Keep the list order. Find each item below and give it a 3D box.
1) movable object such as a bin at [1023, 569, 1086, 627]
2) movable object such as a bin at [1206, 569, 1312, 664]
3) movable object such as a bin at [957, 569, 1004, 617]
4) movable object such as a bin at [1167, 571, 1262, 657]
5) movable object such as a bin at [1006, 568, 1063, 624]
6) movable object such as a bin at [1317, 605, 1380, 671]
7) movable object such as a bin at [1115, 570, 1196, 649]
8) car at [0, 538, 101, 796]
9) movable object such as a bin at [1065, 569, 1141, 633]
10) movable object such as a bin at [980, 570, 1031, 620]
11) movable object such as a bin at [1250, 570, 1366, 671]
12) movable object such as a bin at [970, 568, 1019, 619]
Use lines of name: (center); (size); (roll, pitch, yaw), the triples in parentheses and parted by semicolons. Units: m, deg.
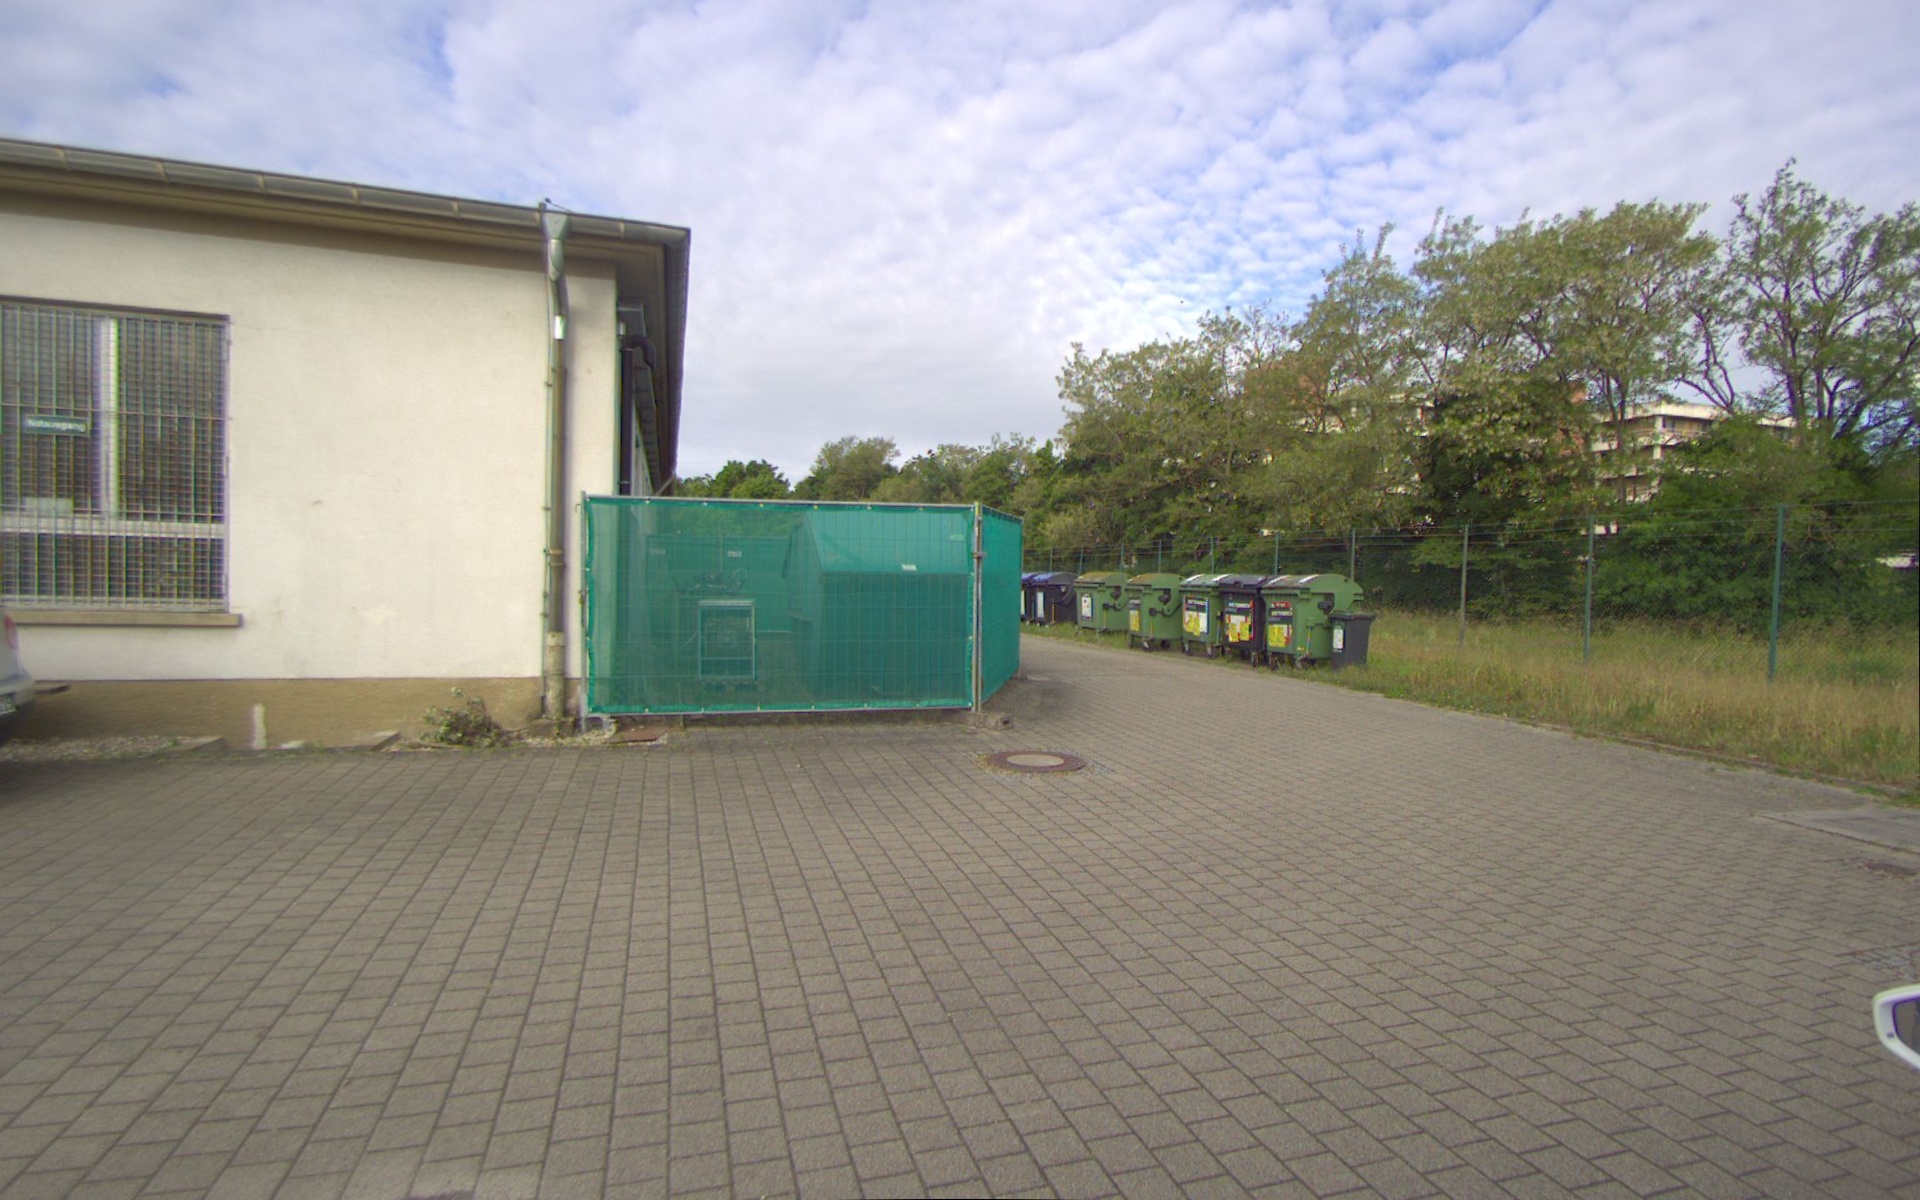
movable object such as a bin: (2.289, -0.049, 24.618); (1.137, 1.343, 1.490); (2, 1, -11)
movable object such as a bin: (4.830, 0.246, 16.316); (1.054, 1.454, 1.394); (1, 1, -14)
movable object such as a bin: (0.607, -0.211, 30.148); (1.106, 1.368, 1.423); (2, 1, -11)
movable object such as a bin: (4.422, 0.231, 17.580); (1.054, 1.424, 1.381); (1, 1, -14)
movable object such as a bin: (1.927, -0.101, 26.154); (1.106, 1.392, 1.490); (2, 1, -11)
movable object such as a bin: (5.446, 0.527, 14.086); (0.590, 0.877, 0.585); (2, 1, -8)
movable object such as a bin: (3.673, 0.164, 19.005); (1.105, 1.417, 1.384); (2, 1, -6)
car: (-7.526, 0.345, 5.150); (4.295, 1.458, 1.924); (1, 3, -16)
movable object such as a bin: (3.042, 0.016, 21.510); (1.108, 1.313, 1.374); (1, 1, -17)
movable object such as a bin: (1.237, -0.149, 27.512); (1.106, 1.339, 1.322); (1, 2, -11)
movable object such as a bin: (5.163, 0.290, 15.005); (1.111, 1.414, 1.354); (2, 1, -8)
movable object such as a bin: (0.969, -0.192, 28.783); (1.106, 1.398, 1.322); (2, 1, -11)
